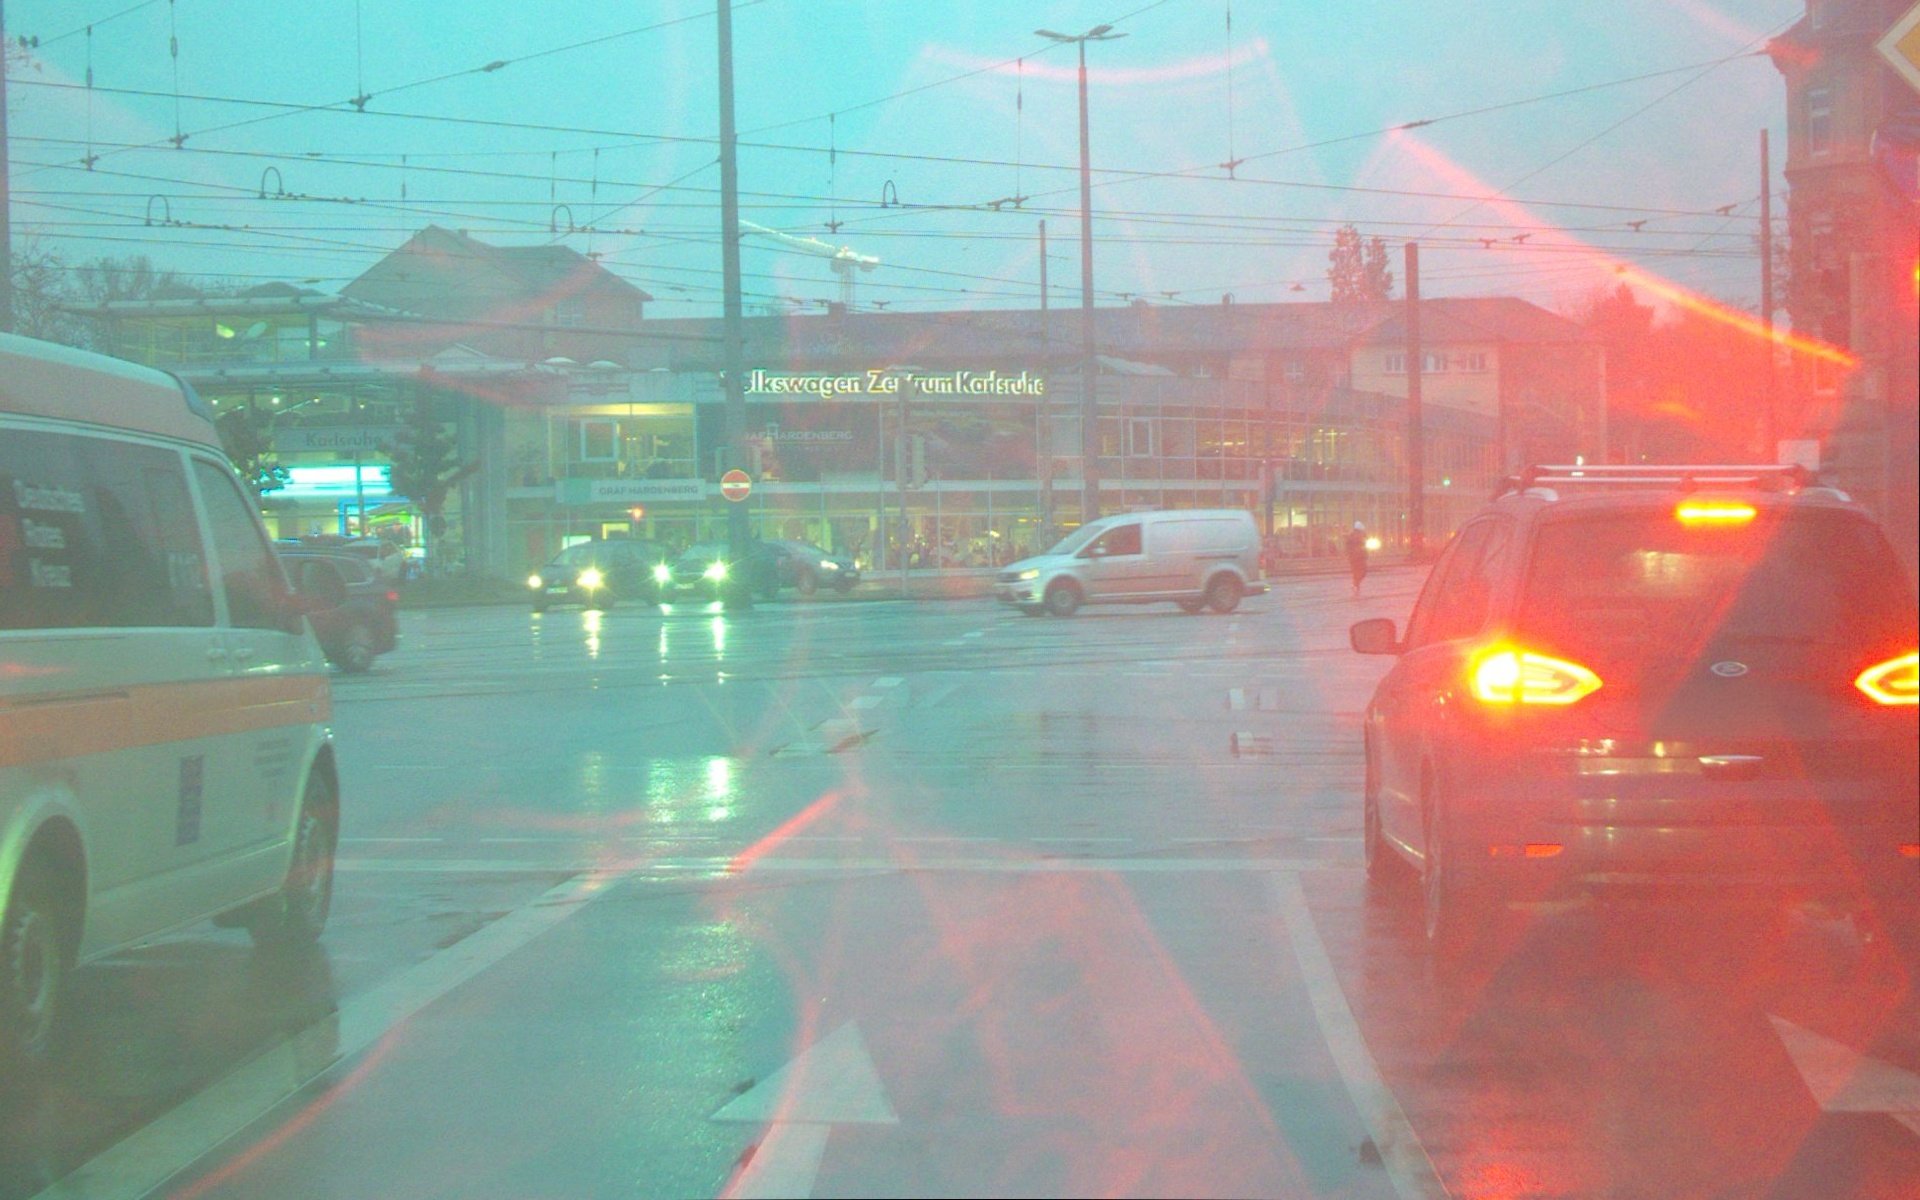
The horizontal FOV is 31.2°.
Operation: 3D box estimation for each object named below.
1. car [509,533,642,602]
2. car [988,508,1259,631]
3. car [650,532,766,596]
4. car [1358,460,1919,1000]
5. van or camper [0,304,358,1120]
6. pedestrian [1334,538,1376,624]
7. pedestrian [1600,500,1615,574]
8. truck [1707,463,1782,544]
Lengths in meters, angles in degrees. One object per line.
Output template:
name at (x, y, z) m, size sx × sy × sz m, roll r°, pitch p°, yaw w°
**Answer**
car at (-8.379, -0.725, 75.229) m, size 1.814 × 1.441 × 3.998 m, roll -1°, pitch 1°, yaw 10°
car at (2.870, -0.516, 60.708) m, size 4.401 × 2.007 × 1.911 m, roll 1°, pitch -3°, yaw -15°
car at (-5.966, -0.877, 81.851) m, size 1.814 × 1.441 × 3.998 m, roll -1°, pitch 1°, yaw 10°
car at (2.628, 0.376, 13.639) m, size 1.778 × 1.794 × 4.424 m, roll 0°, pitch 1°, yaw 3°
van or camper at (-3.508, 0.254, 10.792) m, size 2.202 × 2.102 × 4.987 m, roll 0°, pitch 1°, yaw 2°
pedestrian at (8.484, -0.409, 73.831) m, size 0.591 × 1.834 × 0.619 m, roll -2°, pitch 1°, yaw -34°
pedestrian at (17.675, -1.712, 93.857) m, size 0.344 × 2.007 × 0.418 m, roll -1°, pitch 1°, yaw 16°
truck at (26.942, -3.295, 117.983) m, size 1.995 × 2.682 × 5.111 m, roll -1°, pitch 1°, yaw 18°
